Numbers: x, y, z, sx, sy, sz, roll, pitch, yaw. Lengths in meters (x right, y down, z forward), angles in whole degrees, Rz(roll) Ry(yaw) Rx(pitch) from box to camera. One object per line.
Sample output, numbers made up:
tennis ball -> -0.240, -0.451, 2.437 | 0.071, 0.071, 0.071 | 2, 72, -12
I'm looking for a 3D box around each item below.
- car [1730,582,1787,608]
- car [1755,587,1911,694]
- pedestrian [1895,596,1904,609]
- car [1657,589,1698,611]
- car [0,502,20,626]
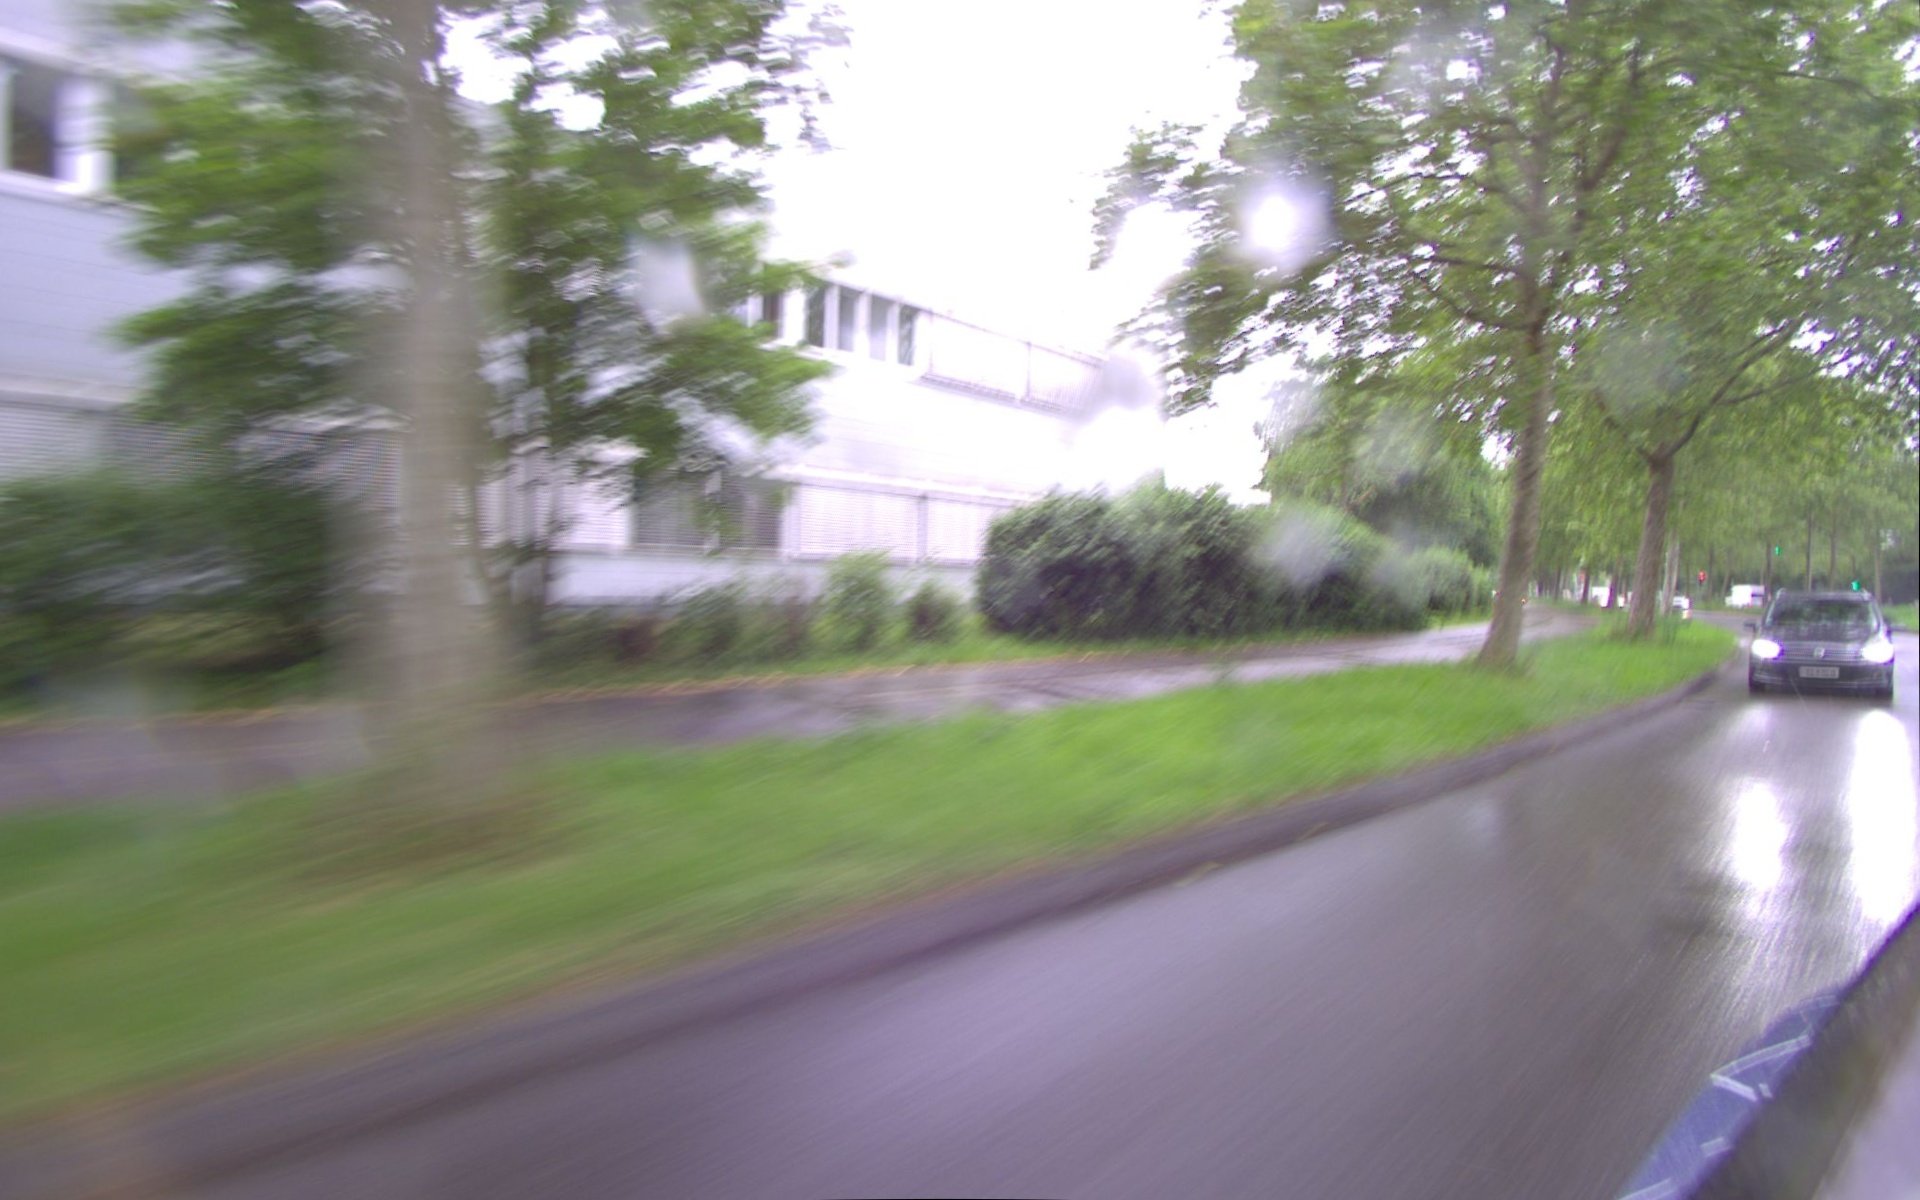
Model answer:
car -> 79.325, -0.568, 100.612 | 2.255, 2.457, 6.325 | 1, 1, 17
car -> 14.520, 0.593, 16.890 | 1.777, 1.575, 3.941 | -1, 0, 41
pedestrian -> 82.944, 0.214, 89.358 | 0.471, 1.053, 0.437 | 2, 1, 27
car -> 54.672, -0.026, 77.166 | 1.766, 1.575, 3.967 | 1, 0, 24
car -> -14.495, -0.556, 12.457 | 4.081, 1.602, 1.766 | 3, -2, -39
